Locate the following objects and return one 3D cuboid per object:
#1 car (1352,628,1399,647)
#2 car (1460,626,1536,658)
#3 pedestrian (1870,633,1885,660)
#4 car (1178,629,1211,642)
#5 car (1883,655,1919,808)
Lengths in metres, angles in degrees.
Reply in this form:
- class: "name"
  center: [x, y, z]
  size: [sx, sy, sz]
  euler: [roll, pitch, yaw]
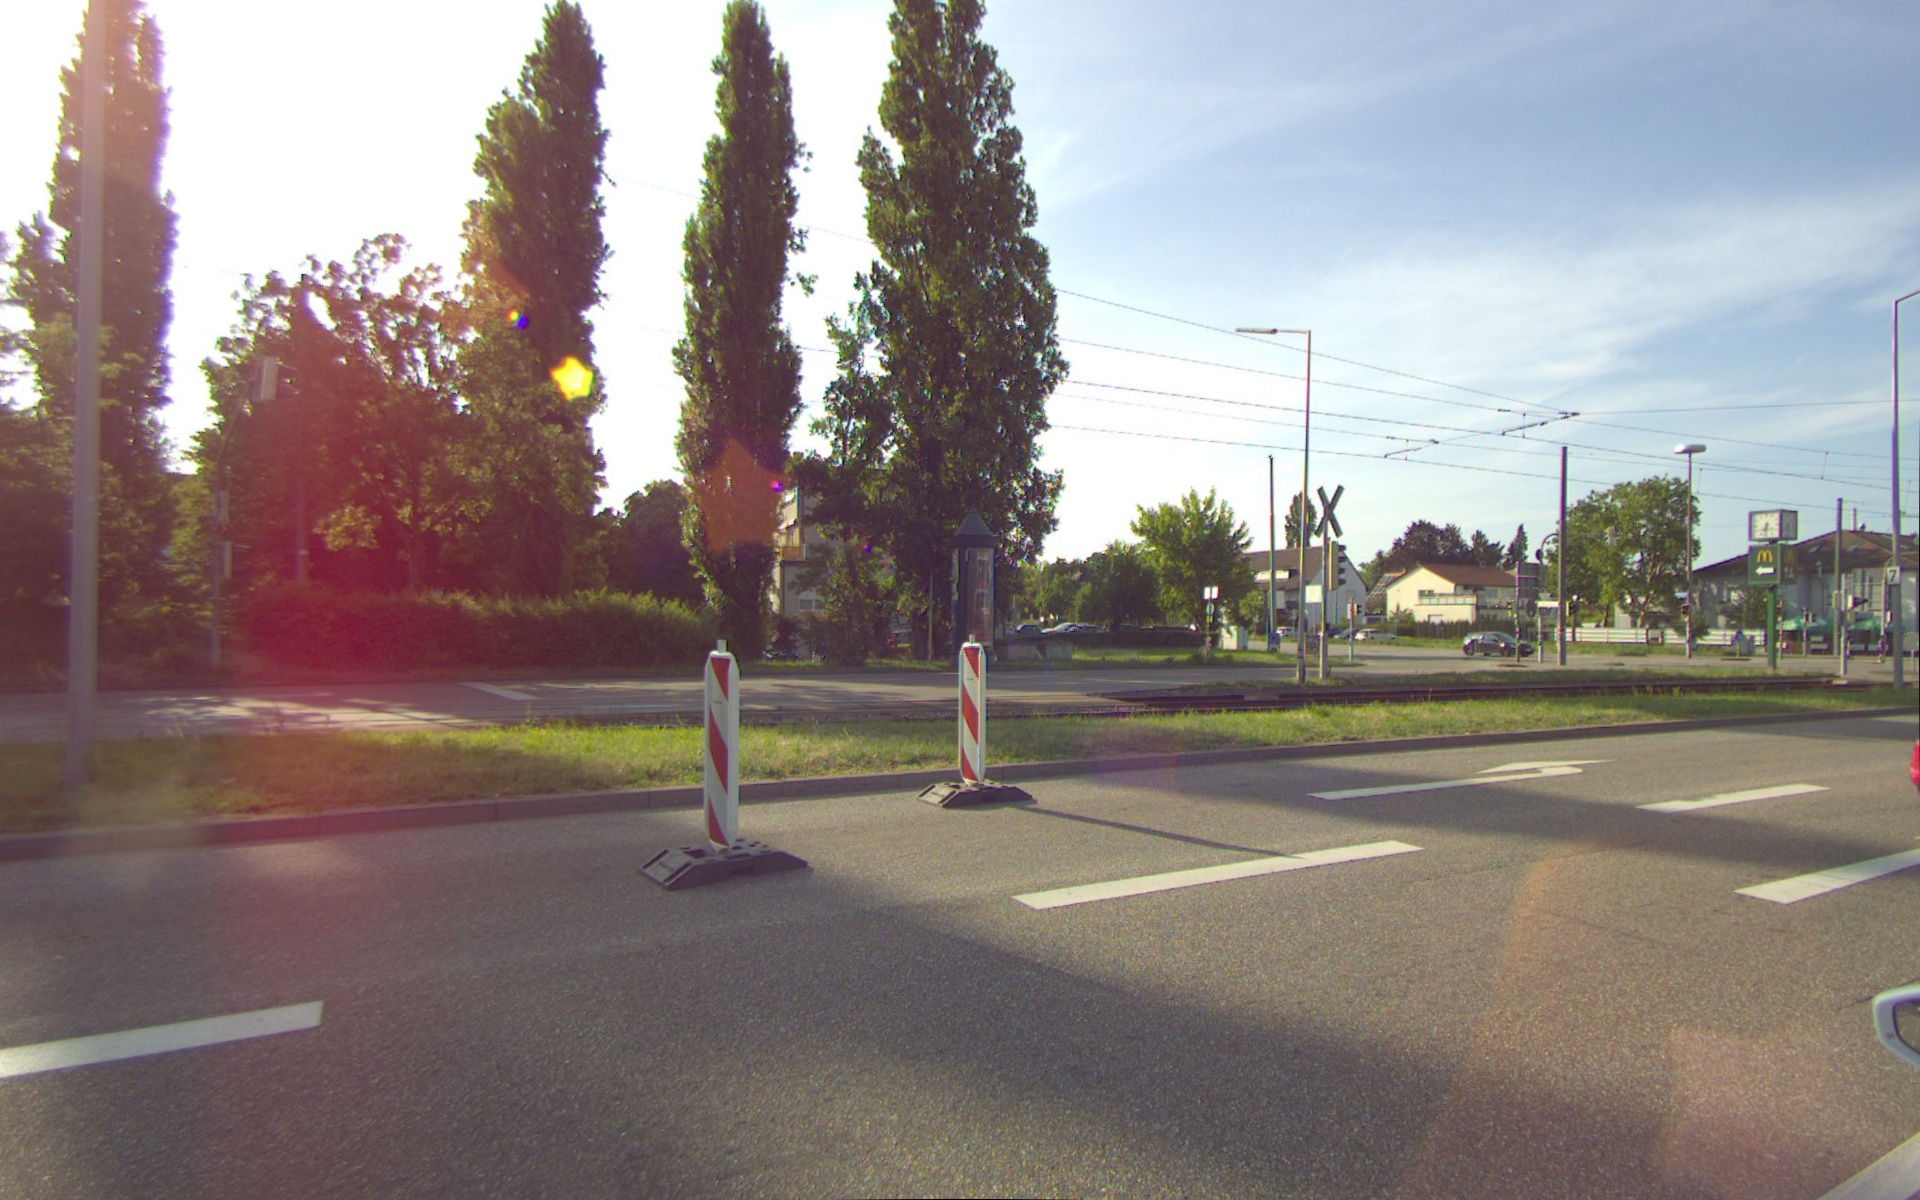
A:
- class: "car"
  center: [41.731, 3.781, 100.846]
  size: [4.156, 1.706, 1.991]
  euler: [2, 0, -20]
- class: "car"
  center: [32.333, 2.519, 60.507]
  size: [1.499, 1.816, 3.976]
  euler: [1, -1, -24]
- class: "pedestrian"
  center: [54.728, 2.768, 59.893]
  size: [0.533, 1.620, 0.509]
  euler: [1, -1, -30]
- class: "car"
  center: [27.230, 4.138, 116.637]
  size: [1.969, 1.505, 3.984]
  euler: [1, -2, -19]
- class: "car"
  center: [9.791, 1.128, 8.545]
  size: [3.799, 1.222, 1.724]
  euler: [1, 0, -29]
